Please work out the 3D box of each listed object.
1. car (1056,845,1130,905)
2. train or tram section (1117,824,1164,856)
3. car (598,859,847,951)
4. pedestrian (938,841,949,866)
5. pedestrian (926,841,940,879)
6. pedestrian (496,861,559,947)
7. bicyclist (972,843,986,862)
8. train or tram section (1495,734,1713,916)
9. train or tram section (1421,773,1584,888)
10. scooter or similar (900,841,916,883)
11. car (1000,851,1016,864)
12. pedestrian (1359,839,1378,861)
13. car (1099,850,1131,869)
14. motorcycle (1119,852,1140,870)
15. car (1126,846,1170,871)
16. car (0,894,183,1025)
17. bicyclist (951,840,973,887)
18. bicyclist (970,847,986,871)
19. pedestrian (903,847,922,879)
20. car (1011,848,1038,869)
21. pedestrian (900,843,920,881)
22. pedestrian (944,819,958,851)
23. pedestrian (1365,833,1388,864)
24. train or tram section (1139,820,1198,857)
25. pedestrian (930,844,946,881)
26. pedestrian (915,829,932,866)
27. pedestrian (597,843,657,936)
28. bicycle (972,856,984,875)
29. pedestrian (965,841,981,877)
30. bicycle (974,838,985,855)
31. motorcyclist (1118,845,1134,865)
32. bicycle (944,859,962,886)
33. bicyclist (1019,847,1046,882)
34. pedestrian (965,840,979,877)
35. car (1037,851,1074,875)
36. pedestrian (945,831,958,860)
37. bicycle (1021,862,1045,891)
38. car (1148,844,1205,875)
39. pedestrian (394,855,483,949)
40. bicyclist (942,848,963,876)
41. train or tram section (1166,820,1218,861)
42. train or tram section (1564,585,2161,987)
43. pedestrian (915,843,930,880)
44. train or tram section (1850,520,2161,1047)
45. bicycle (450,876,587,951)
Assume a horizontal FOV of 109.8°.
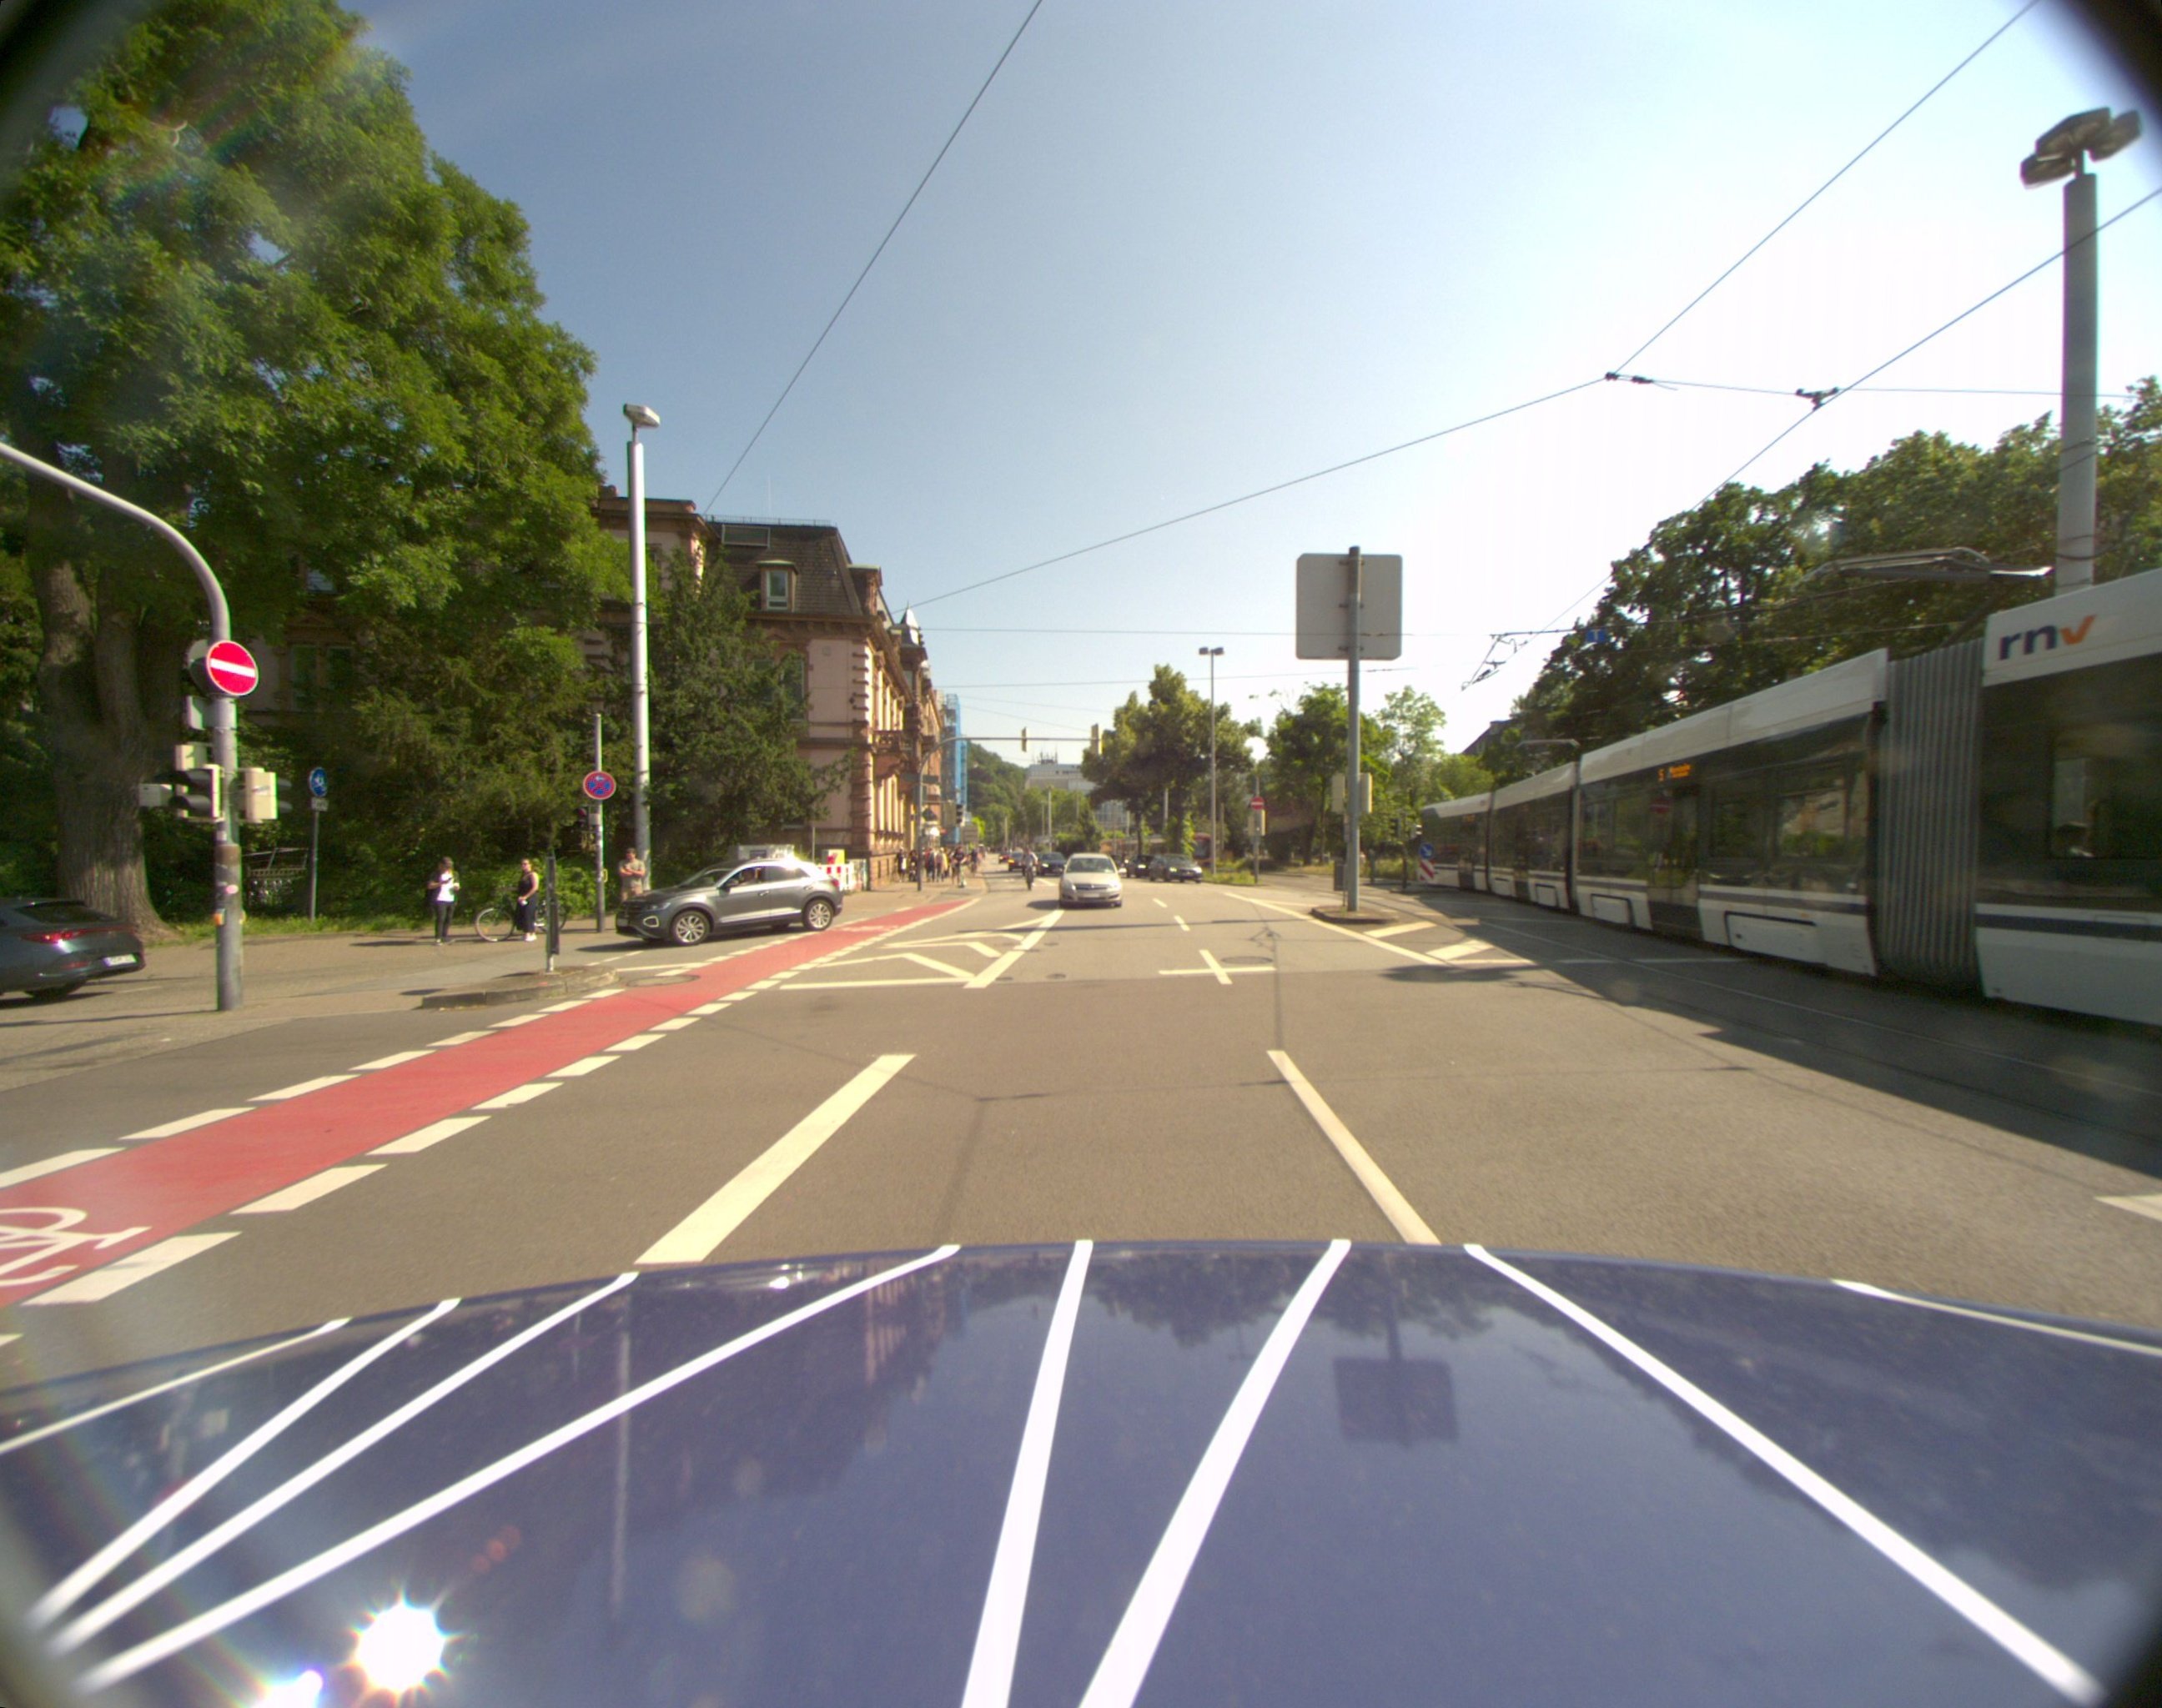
[{"bbox_3d":[0.237,0.527,22.209,1.803,1.492,4.495,-3,1,-3],"label":"car"},{"bbox_3d":[6.664,-1.603,87.173,2.769,3.384,12.400,0,1,-8],"label":"train or tram section"},{"bbox_3d":[-6.973,0.894,15.107,1.930,1.507,4.001,-1,0,39],"label":"car"},{"bbox_3d":[-9.522,-0.045,52.546,0.707,1.685,0.628,0,3,-5],"label":"pedestrian"},{"bbox_3d":[-7.326,0.290,37.672,0.636,1.880,0.902,-1,1,-10],"label":"pedestrian"},{"bbox_3d":[-11.402,1.002,15.681,0.676,1.700,0.892,0,1,-7],"label":"pedestrian"},{"bbox_3d":[-6.834,-0.085,50.686,0.913,1.227,1.231,0,1,-9],"label":"bicyclist"},{"bbox_3d":[13.407,-0.644,20.457,2.540,3.755,9.182,0,1,20],"label":"train or tram section"},{"bbox_3d":[15.789,-0.837,29.379,2.541,3.756,9.174,0,1,9],"label":"train or tram section"},{"bbox_3d":[-8.258,0.366,36.300,0.694,2.002,1.094,0,1,-9],"label":"scooter or similar"},{"bbox_3d":[-9.390,0.431,97.227,2.000,1.565,3.997,-2,1,-6],"label":"car"},{"bbox_3d":[20.988,-0.278,55.503,1.039,1.610,0.934,0,1,-2],"label":"pedestrian"},{"bbox_3d":[2.489,0.384,56.615,1.638,1.301,3.910,0,1,-9],"label":"car"},{"bbox_3d":[3.273,0.460,51.740,0.903,1.156,2.351,-1,1,-9],"label":"motorcycle"},{"bbox_3d":[3.889,0.237,44.797,1.798,1.403,3.997,0,1,-7],"label":"car"},{"bbox_3d":[-15.032,1.398,9.580,4.289,1.482,1.996,-2,1,-24],"label":"car"},{"bbox_3d":[-5.073,0.401,32.395,0.944,2.002,0.829,0,1,-9],"label":"bicyclist"},{"bbox_3d":[-6.348,0.282,46.747,0.913,1.428,1.231,0,1,-9],"label":"bicyclist"},{"bbox_3d":[-8.512,0.440,38.453,0.814,1.593,0.814,2,1,-9],"label":"pedestrian"},{"bbox_3d":[-4.462,0.324,59.567,2.000,1.565,3.997,-2,1,-6],"label":"car"},{"bbox_3d":[-8.357,0.372,37.127,0.814,1.783,0.814,2,1,-9],"label":"pedestrian"},{"bbox_3d":[-8.243,-1.219,48.328,0.814,2.002,0.814,2,1,-9],"label":"pedestrian"},{"bbox_3d":[21.317,-0.394,54.820,1.126,2.138,0.802,-6,1,-1],"label":"pedestrian"},{"bbox_3d":[8.382,-1.502,74.849,2.769,3.384,12.400,0,1,-7],"label":"train or tram section"},{"bbox_3d":[-6.928,0.385,36.808,0.708,1.759,0.902,0,1,-10],"label":"pedestrian"},{"bbox_3d":[-8.712,-0.365,42.137,0.814,2.002,0.814,2,1,-9],"label":"pedestrian"},{"bbox_3d":[-10.159,0.762,17.049,0.777,2.002,1.059,0,1,-8],"label":"pedestrian"},{"bbox_3d":[-6.353,0.693,46.870,0.644,1.077,2.494,0,1,-9],"label":"bicycle"},{"bbox_3d":[-6.051,0.268,42.548,0.814,2.002,0.814,2,1,-9],"label":"pedestrian"},{"bbox_3d":[-6.774,-0.515,50.597,0.644,1.077,2.494,0,1,-9],"label":"bicycle"},{"bbox_3d":[3.054,0.054,52.093,0.903,1.351,0.992,0,1,-9],"label":"motorcyclist"},{"bbox_3d":[-5.664,0.813,33.652,0.781,1.096,2.136,0,1,-9],"label":"bicycle"},{"bbox_3d":[-1.972,0.396,30.896,0.913,1.385,1.231,0,1,-12],"label":"bicyclist"},{"bbox_3d":[-6.099,0.247,42.495,0.662,2.002,0.699,2,1,-9],"label":"pedestrian"},{"bbox_3d":[-1.650,0.537,47.225,1.895,1.323,3.997,-2,1,-7],"label":"car"},{"bbox_3d":[-9.301,-0.610,54.559,0.814,2.002,0.814,2,1,-9],"label":"pedestrian"},{"bbox_3d":[-1.979,0.878,30.895,0.644,1.077,2.493,0,1,-11],"label":"bicycle"},{"bbox_3d":[4.832,0.243,38.921,1.753,1.477,4.743,1,1,-7],"label":"car"},{"bbox_3d":[-12.896,0.942,15.283,1.060,1.772,0.700,-2,6,-16],"label":"pedestrian"},{"bbox_3d":[-5.688,0.328,33.646,0.924,1.212,0.971,0,1,-9],"label":"bicyclist"},{"bbox_3d":[9.485,-1.123,65.685,2.769,3.384,5.881,0,1,-9],"label":"train or tram section"},{"bbox_3d":[10.482,-0.657,11.748,2.407,3.660,9.630,0,1,16],"label":"train or tram section"},{"bbox_3d":[-7.624,0.347,36.563,0.708,1.743,0.902,0,3,-10],"label":"pedestrian"},{"bbox_3d":[8.762,-0.469,1.701,2.475,3.755,11.850,0,1,3],"label":"train or tram section"},{"bbox_3d":[-11.733,1.196,15.982,0.801,1.199,2.275,2,5,14],"label":"bicycle"}]
